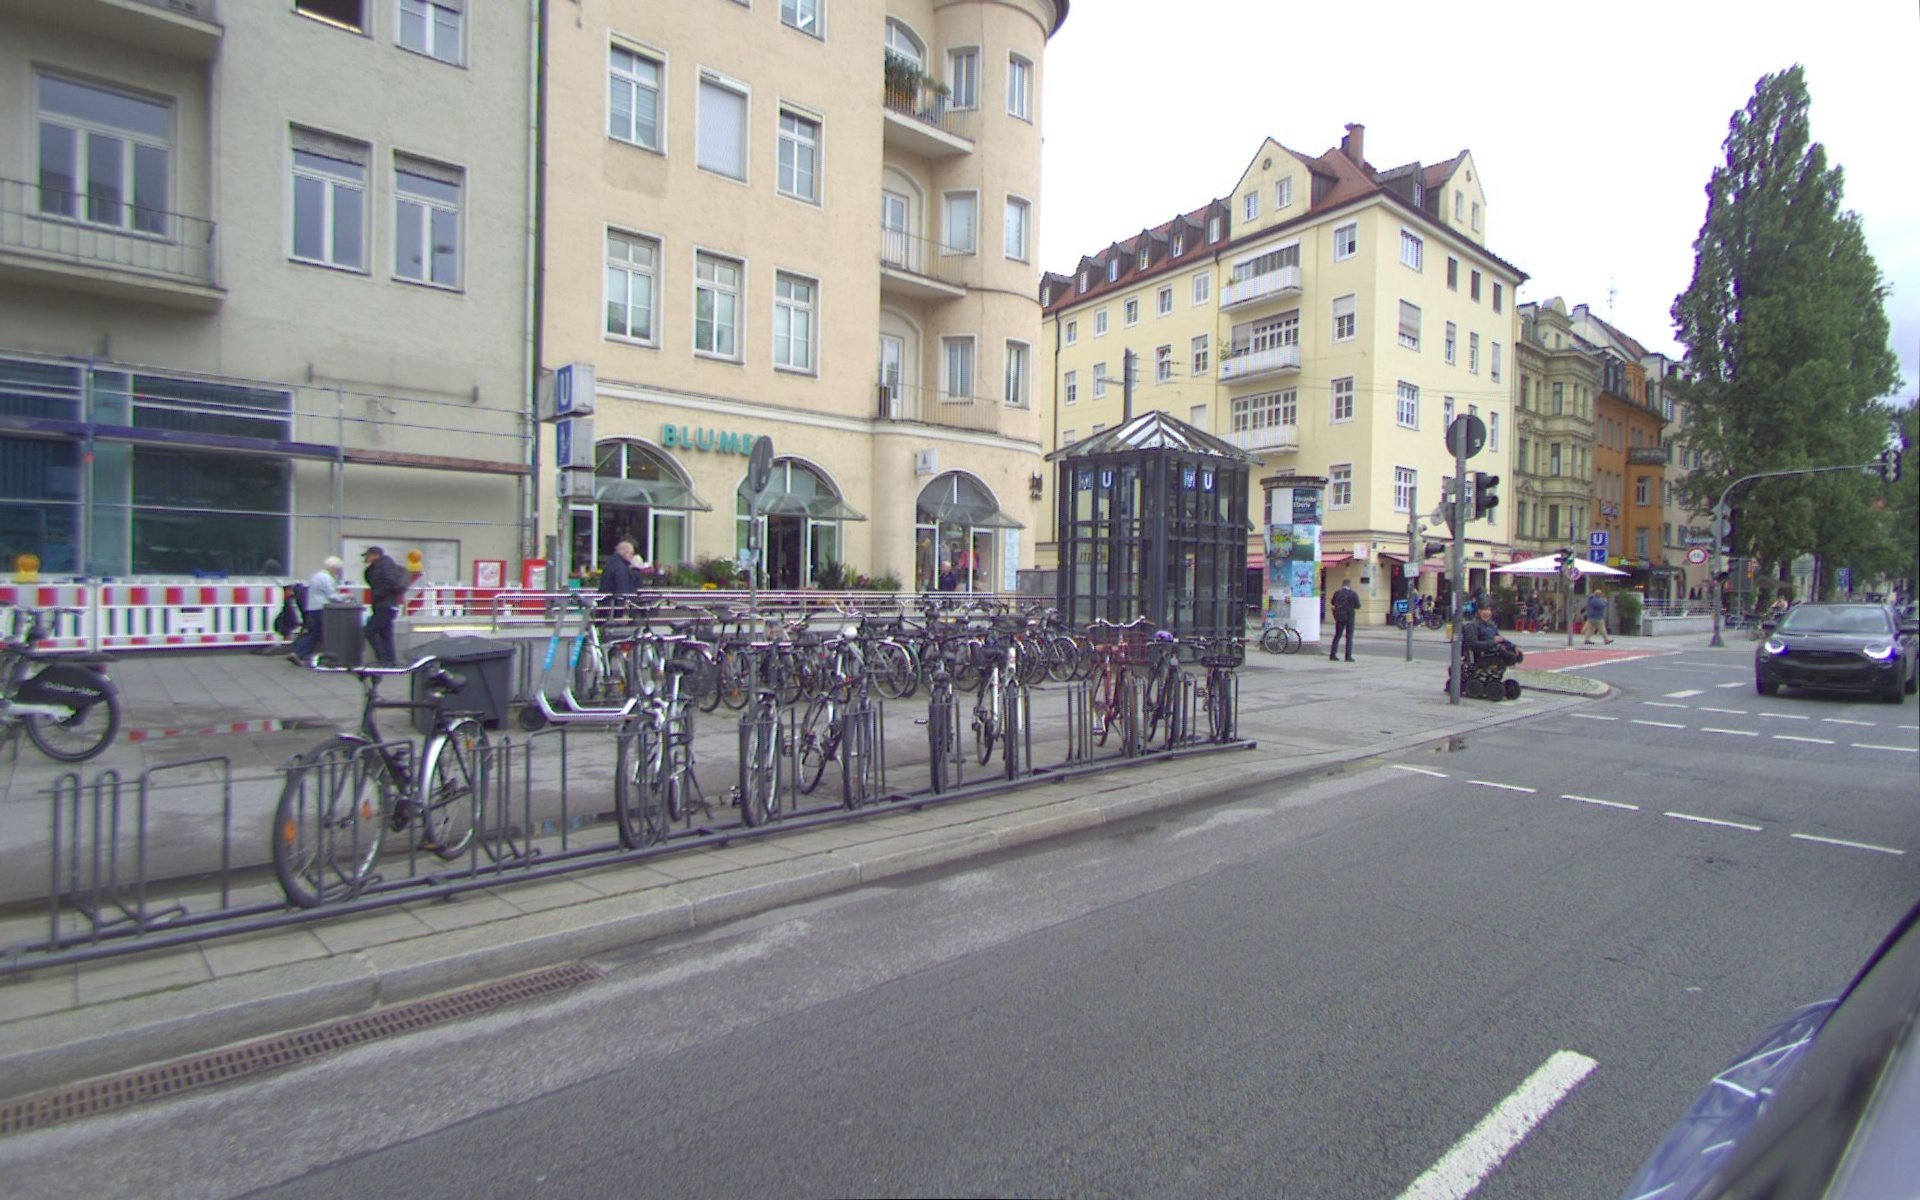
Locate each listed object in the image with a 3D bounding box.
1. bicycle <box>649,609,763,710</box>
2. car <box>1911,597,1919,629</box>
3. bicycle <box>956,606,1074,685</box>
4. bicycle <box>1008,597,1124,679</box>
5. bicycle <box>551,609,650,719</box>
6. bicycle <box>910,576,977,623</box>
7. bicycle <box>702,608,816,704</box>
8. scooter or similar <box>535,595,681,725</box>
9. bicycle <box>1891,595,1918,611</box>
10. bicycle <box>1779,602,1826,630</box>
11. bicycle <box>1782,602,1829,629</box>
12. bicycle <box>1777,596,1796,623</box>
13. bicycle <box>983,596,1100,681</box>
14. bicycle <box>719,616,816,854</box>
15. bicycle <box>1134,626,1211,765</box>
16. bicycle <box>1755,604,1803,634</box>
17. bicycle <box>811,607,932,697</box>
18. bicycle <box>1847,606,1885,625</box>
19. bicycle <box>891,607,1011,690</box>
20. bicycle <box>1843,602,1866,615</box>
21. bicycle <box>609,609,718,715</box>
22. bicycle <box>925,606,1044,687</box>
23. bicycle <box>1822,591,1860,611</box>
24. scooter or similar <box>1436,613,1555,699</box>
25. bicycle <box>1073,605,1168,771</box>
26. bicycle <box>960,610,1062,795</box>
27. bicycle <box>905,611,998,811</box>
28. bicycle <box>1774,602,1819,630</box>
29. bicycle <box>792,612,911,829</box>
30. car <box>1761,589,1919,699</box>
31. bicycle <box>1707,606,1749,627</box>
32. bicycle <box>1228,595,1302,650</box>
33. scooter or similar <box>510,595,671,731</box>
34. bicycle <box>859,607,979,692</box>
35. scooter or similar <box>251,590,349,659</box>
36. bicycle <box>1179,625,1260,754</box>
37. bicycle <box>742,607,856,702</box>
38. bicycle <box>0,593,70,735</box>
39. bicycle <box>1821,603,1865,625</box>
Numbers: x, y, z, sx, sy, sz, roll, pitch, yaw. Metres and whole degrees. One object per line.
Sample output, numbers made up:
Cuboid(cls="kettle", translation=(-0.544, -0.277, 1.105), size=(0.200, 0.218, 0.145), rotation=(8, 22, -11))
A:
Cuboid(cls="bicycle", translation=(-2.876, 0.626, 11.348), size=(0.445, 0.976, 1.757), rotation=(1, 1, -42))
Cuboid(cls="car", translation=(50.009, 0.652, 51.671), size=(3.903, 1.543, 1.778), rotation=(-1, 2, -42))
Cuboid(cls="bicycle", translation=(0.748, 0.612, 14.299), size=(0.500, 0.976, 1.840), rotation=(1, 1, -42))
Cuboid(cls="bicycle", translation=(1.551, 0.532, 15.110), size=(0.500, 1.108, 1.840), rotation=(1, 1, -42))
Cuboid(cls="bicycle", translation=(-3.756, 0.621, 10.483), size=(0.363, 0.976, 1.758), rotation=(1, 1, -40))
Cuboid(cls="bicycle", translation=(-0.386, -0.019, 24.856), size=(0.494, 1.103, 1.837), rotation=(2, 1, 42))
Cuboid(cls="bicycle", translation=(-2.359, 0.612, 11.744), size=(0.445, 0.976, 1.757), rotation=(1, 1, -42))
Cuboid(cls="scooter or similar", translation=(-3.296, 0.563, 9.540), size=(1.250, 1.190, 0.302), rotation=(1, 1, -11))
Cuboid(cls="bicycle", translation=(66.849, 0.192, 71.640), size=(0.353, 1.116, 1.743), rotation=(1, 1, 4))
Cuboid(cls="bicycle", translation=(33.601, 0.614, 40.382), size=(0.341, 1.008, 1.842), rotation=(1, 2, 1))
Cuboid(cls="bicycle", translation=(34.116, 0.613, 40.864), size=(0.341, 1.008, 1.842), rotation=(1, 2, 1))
Cuboid(cls="bicycle", translation=(41.686, 0.479, 51.039), size=(1.747, 1.304, 0.424), rotation=(0, 1, -41))
Cuboid(cls="bicycle", translation=(1.151, 0.532, 14.721), size=(0.500, 1.108, 1.840), rotation=(1, 1, -42))
Cuboid(cls="bicycle", translation=(-1.201, 0.721, 6.197), size=(0.477, 1.172, 1.809), rotation=(1, 1, -12))
Cuboid(cls="bicycle", translation=(1.855, 0.791, 8.981), size=(0.491, 1.041, 1.599), rotation=(1, 1, 6))
Cuboid(cls="bicycle", translation=(30.375, 0.684, 37.573), size=(0.341, 1.008, 1.841), rotation=(1, 2, 3))
Cuboid(cls="bicycle", translation=(-1.143, 0.615, 12.714), size=(0.500, 0.976, 1.840), rotation=(1, 1, -42))
Cuboid(cls="bicycle", translation=(48.994, 0.837, 54.729), size=(0.368, 1.008, 1.842), rotation=(1, 0, 0))
Cuboid(cls="bicycle", translation=(-0.150, 0.614, 13.606), size=(0.500, 0.976, 1.840), rotation=(1, 1, -42))
Cuboid(cls="bicycle", translation=(72.047, 0.711, 81.527), size=(1.801, 1.036, 0.447), rotation=(0, 0, -15))
Cuboid(cls="bicycle", translation=(-3.225, 0.626, 10.910), size=(0.445, 0.976, 1.758), rotation=(1, 1, -40))
Cuboid(cls="bicycle", translation=(0.314, 0.613, 14.001), size=(0.500, 0.976, 1.840), rotation=(1, 1, -42))
Cuboid(cls="bicycle", translation=(43.892, 0.052, 50.436), size=(0.319, 1.008, 1.841), rotation=(1, 0, 1))
Cuboid(cls="scooter or similar", translation=(7.637, 0.779, 14.468), size=(0.763, 1.088, 1.257), rotation=(2, 2, -36))
Cuboid(cls="bicycle", translation=(1.322, 0.674, 8.609), size=(0.549, 1.213, 1.804), rotation=(1, 1, 2))
Cuboid(cls="bicycle", translation=(0.340, 0.696, 7.651), size=(0.537, 1.172, 1.806), rotation=(1, 1, -4))
Cuboid(cls="bicycle", translation=(-0.101, 0.696, 7.134), size=(0.537, 1.172, 1.806), rotation=(1, 1, -4))
Cuboid(cls="bicycle", translation=(33.113, 0.615, 40.094), size=(0.342, 1.008, 1.840), rotation=(1, 2, 4))
Cuboid(cls="bicycle", translation=(-0.761, 0.698, 6.682), size=(0.477, 1.172, 1.809), rotation=(1, 1, -15))
Cuboid(cls="car", translation=(14.615, 0.612, 16.530), size=(3.903, 1.522, 1.778), rotation=(-1, 2, -42))
Cuboid(cls="bicycle", translation=(40.596, 0.843, 53.496), size=(1.722, 1.059, 0.381), rotation=(1, -1, 43))
Cuboid(cls="bicycle", translation=(7.011, 0.502, 23.345), size=(0.515, 1.174, 1.573), rotation=(3, 1, -38))
Cuboid(cls="scooter or similar", translation=(-3.329, 0.565, 9.187), size=(1.319, 1.190, 0.365), rotation=(1, 1, -11))
Cuboid(cls="bicycle", translation=(-0.570, 0.615, 13.266), size=(0.500, 0.976, 1.840), rotation=(1, 1, -42))
Cuboid(cls="scooter or similar", translation=(-9.614, 0.342, 14.752), size=(1.106, 0.955, 0.535), rotation=(0, 2, -43))
Cuboid(cls="bicycle", translation=(2.431, 0.793, 9.601), size=(0.491, 1.041, 1.599), rotation=(1, 1, 6))
Cuboid(cls="bicycle", translation=(-1.940, 0.610, 12.018), size=(0.445, 0.976, 1.757), rotation=(1, 1, -42))
Cuboid(cls="bicycle", translation=(-8.049, 0.506, 8.762), size=(0.443, 1.088, 1.554), rotation=(1, 1, -39))
Cuboid(cls="bicycle", translation=(41.903, 0.653, 48.043), size=(0.319, 1.008, 1.844), rotation=(1, 0, -5))
